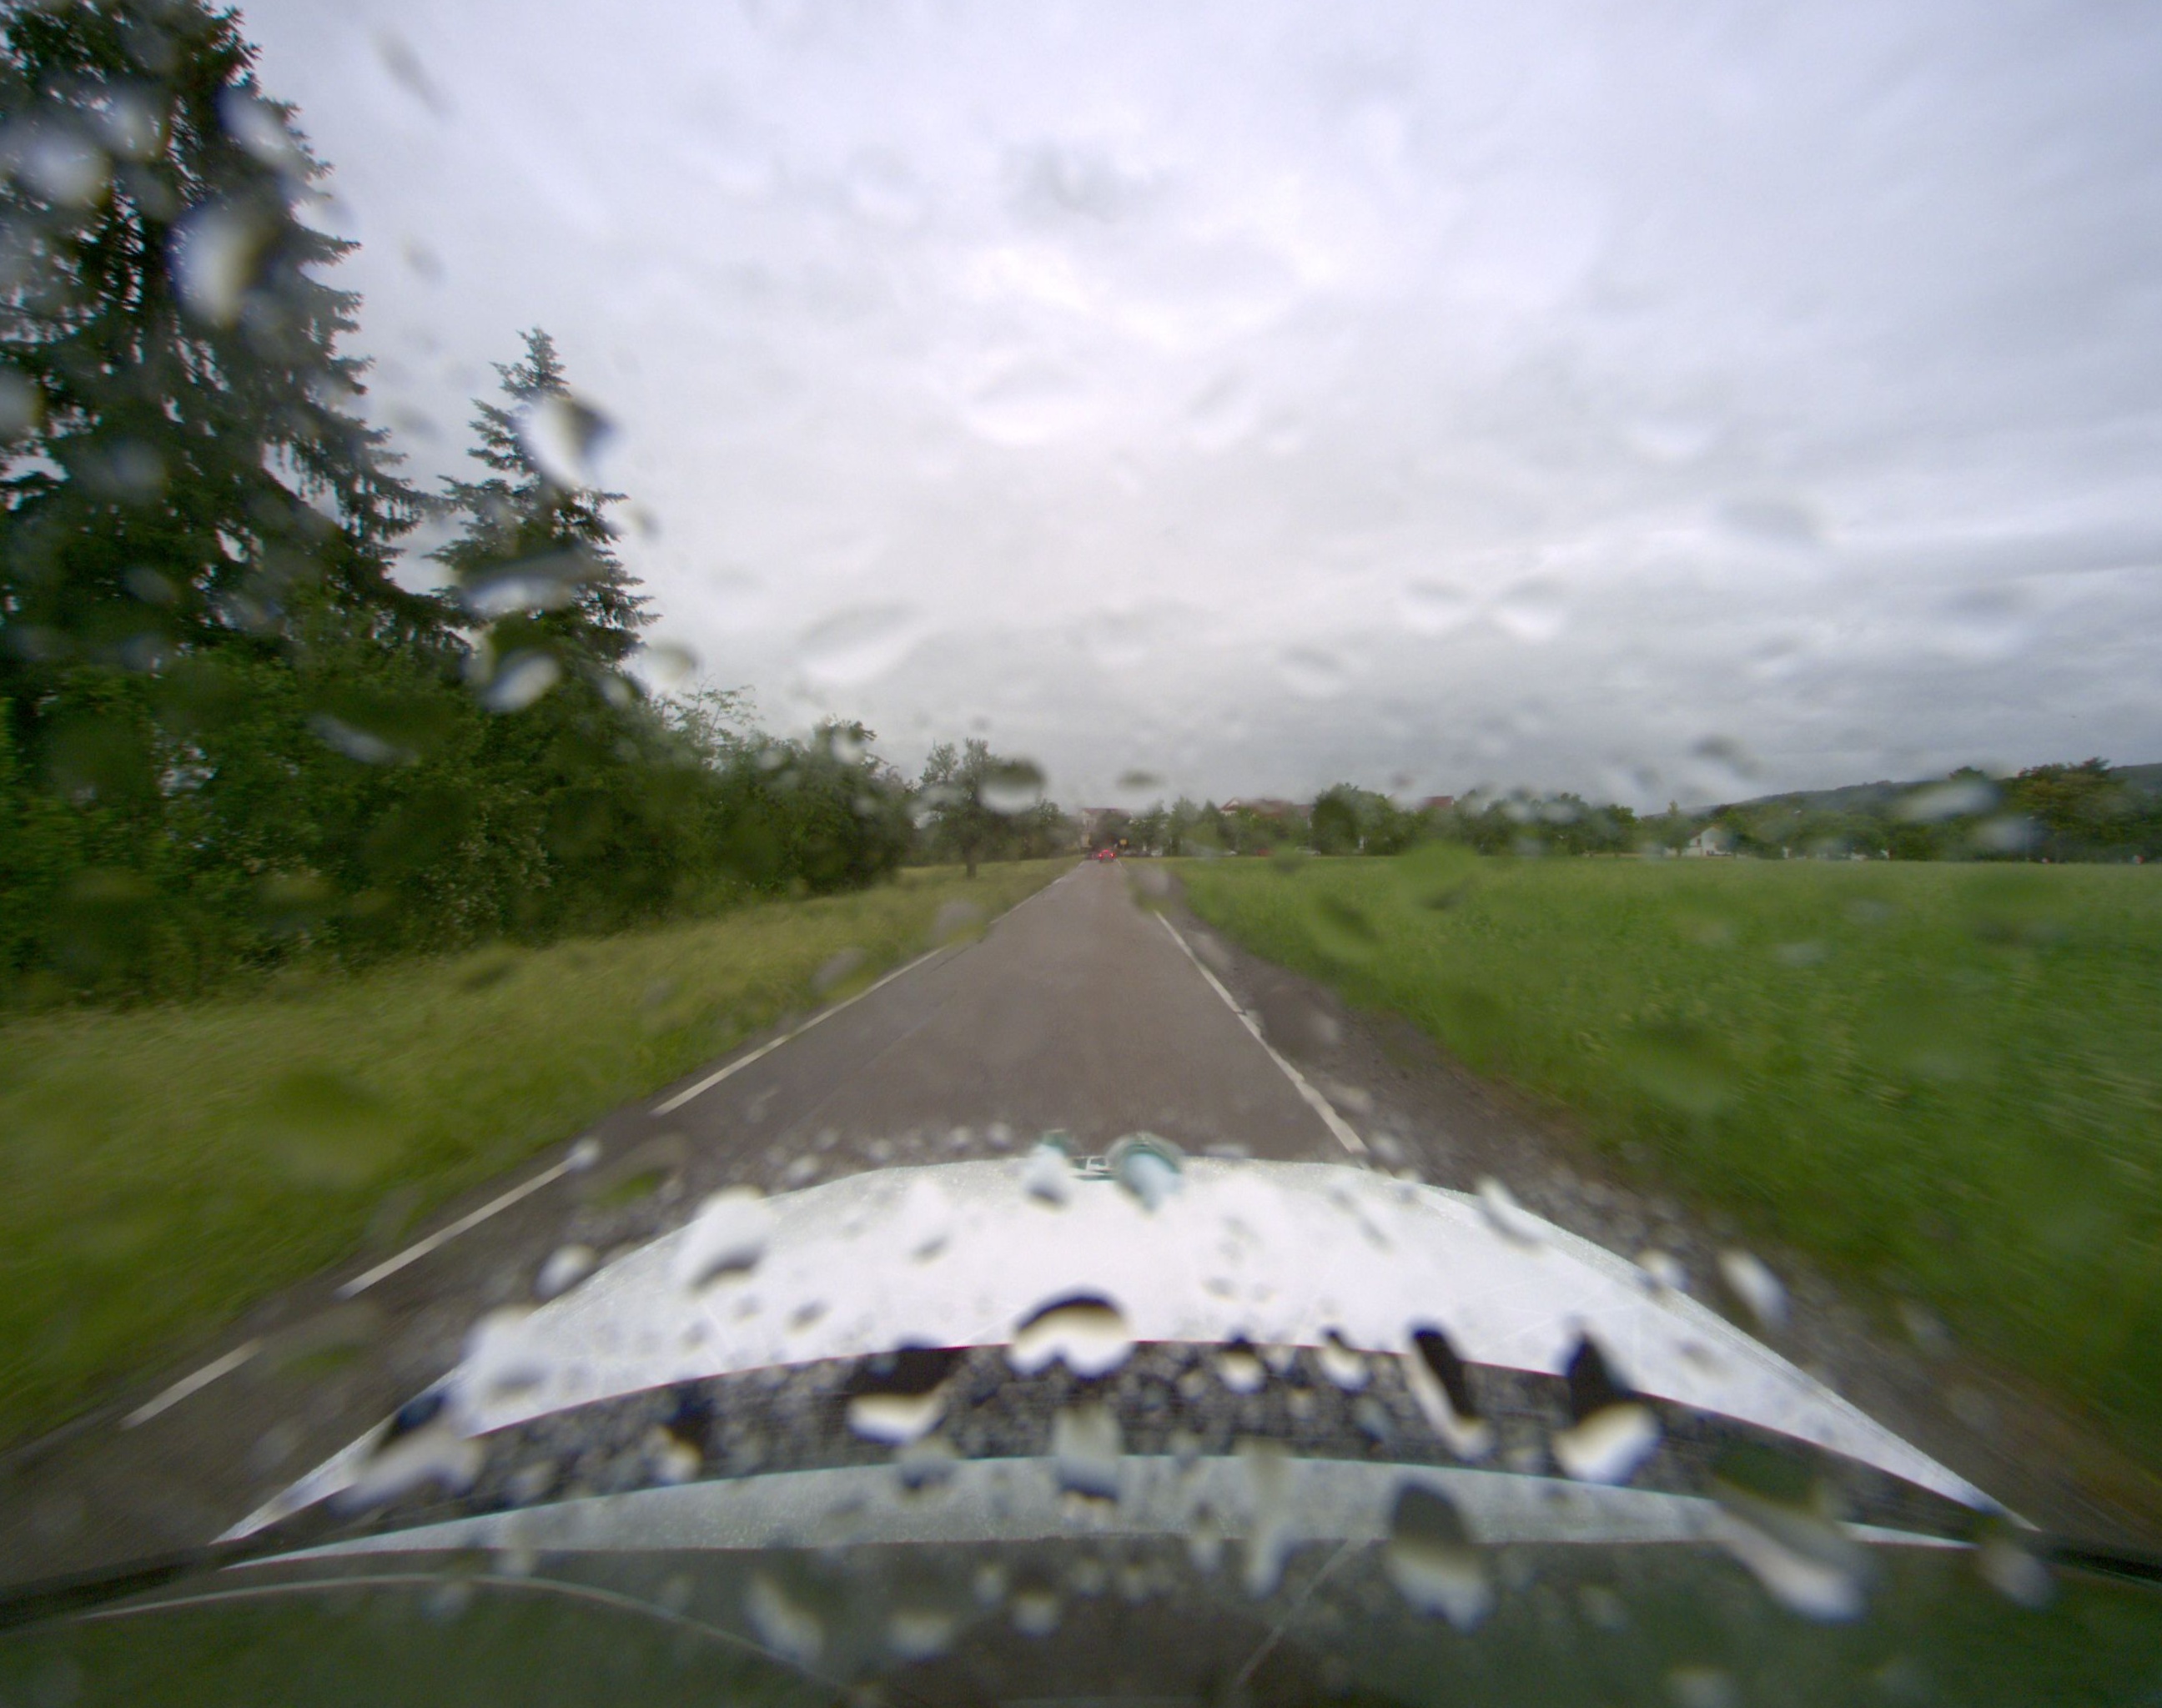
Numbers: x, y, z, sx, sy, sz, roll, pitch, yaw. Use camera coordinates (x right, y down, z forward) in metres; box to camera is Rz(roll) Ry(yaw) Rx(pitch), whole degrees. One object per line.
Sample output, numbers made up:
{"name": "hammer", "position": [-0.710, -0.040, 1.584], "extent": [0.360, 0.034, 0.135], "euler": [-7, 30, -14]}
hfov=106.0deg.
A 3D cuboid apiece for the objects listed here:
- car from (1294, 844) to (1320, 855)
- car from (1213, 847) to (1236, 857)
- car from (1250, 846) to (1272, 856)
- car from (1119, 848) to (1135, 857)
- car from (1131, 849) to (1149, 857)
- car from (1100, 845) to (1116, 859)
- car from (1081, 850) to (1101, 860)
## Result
{"name": "car", "position": [33.995, -0.619, 122.558], "extent": [3.682, 1.564, 1.617], "euler": [-2, -1, 15]}
{"name": "car", "position": [22.244, -0.293, 125.950], "extent": [3.365, 1.370, 1.554], "euler": [-2, -1, 15]}
{"name": "car", "position": [27.547, -0.444, 124.391], "extent": [3.169, 1.370, 1.578], "euler": [-2, -1, 15]}
{"name": "car", "position": [8.818, -0.247, 155.165], "extent": [1.645, 1.546, 4.023], "euler": [-2, -1, 26]}
{"name": "car", "position": [11.565, -0.149, 159.766], "extent": [1.645, 1.546, 4.025], "euler": [-2, -1, 37]}
{"name": "car", "position": [3.286, -0.224, 99.684], "extent": [1.807, 1.594, 4.003], "euler": [-1, -1, 3]}
{"name": "car", "position": [1.652, 0.199, 133.149], "extent": [1.823, 1.594, 3.969], "euler": [-1, -1, -23]}
